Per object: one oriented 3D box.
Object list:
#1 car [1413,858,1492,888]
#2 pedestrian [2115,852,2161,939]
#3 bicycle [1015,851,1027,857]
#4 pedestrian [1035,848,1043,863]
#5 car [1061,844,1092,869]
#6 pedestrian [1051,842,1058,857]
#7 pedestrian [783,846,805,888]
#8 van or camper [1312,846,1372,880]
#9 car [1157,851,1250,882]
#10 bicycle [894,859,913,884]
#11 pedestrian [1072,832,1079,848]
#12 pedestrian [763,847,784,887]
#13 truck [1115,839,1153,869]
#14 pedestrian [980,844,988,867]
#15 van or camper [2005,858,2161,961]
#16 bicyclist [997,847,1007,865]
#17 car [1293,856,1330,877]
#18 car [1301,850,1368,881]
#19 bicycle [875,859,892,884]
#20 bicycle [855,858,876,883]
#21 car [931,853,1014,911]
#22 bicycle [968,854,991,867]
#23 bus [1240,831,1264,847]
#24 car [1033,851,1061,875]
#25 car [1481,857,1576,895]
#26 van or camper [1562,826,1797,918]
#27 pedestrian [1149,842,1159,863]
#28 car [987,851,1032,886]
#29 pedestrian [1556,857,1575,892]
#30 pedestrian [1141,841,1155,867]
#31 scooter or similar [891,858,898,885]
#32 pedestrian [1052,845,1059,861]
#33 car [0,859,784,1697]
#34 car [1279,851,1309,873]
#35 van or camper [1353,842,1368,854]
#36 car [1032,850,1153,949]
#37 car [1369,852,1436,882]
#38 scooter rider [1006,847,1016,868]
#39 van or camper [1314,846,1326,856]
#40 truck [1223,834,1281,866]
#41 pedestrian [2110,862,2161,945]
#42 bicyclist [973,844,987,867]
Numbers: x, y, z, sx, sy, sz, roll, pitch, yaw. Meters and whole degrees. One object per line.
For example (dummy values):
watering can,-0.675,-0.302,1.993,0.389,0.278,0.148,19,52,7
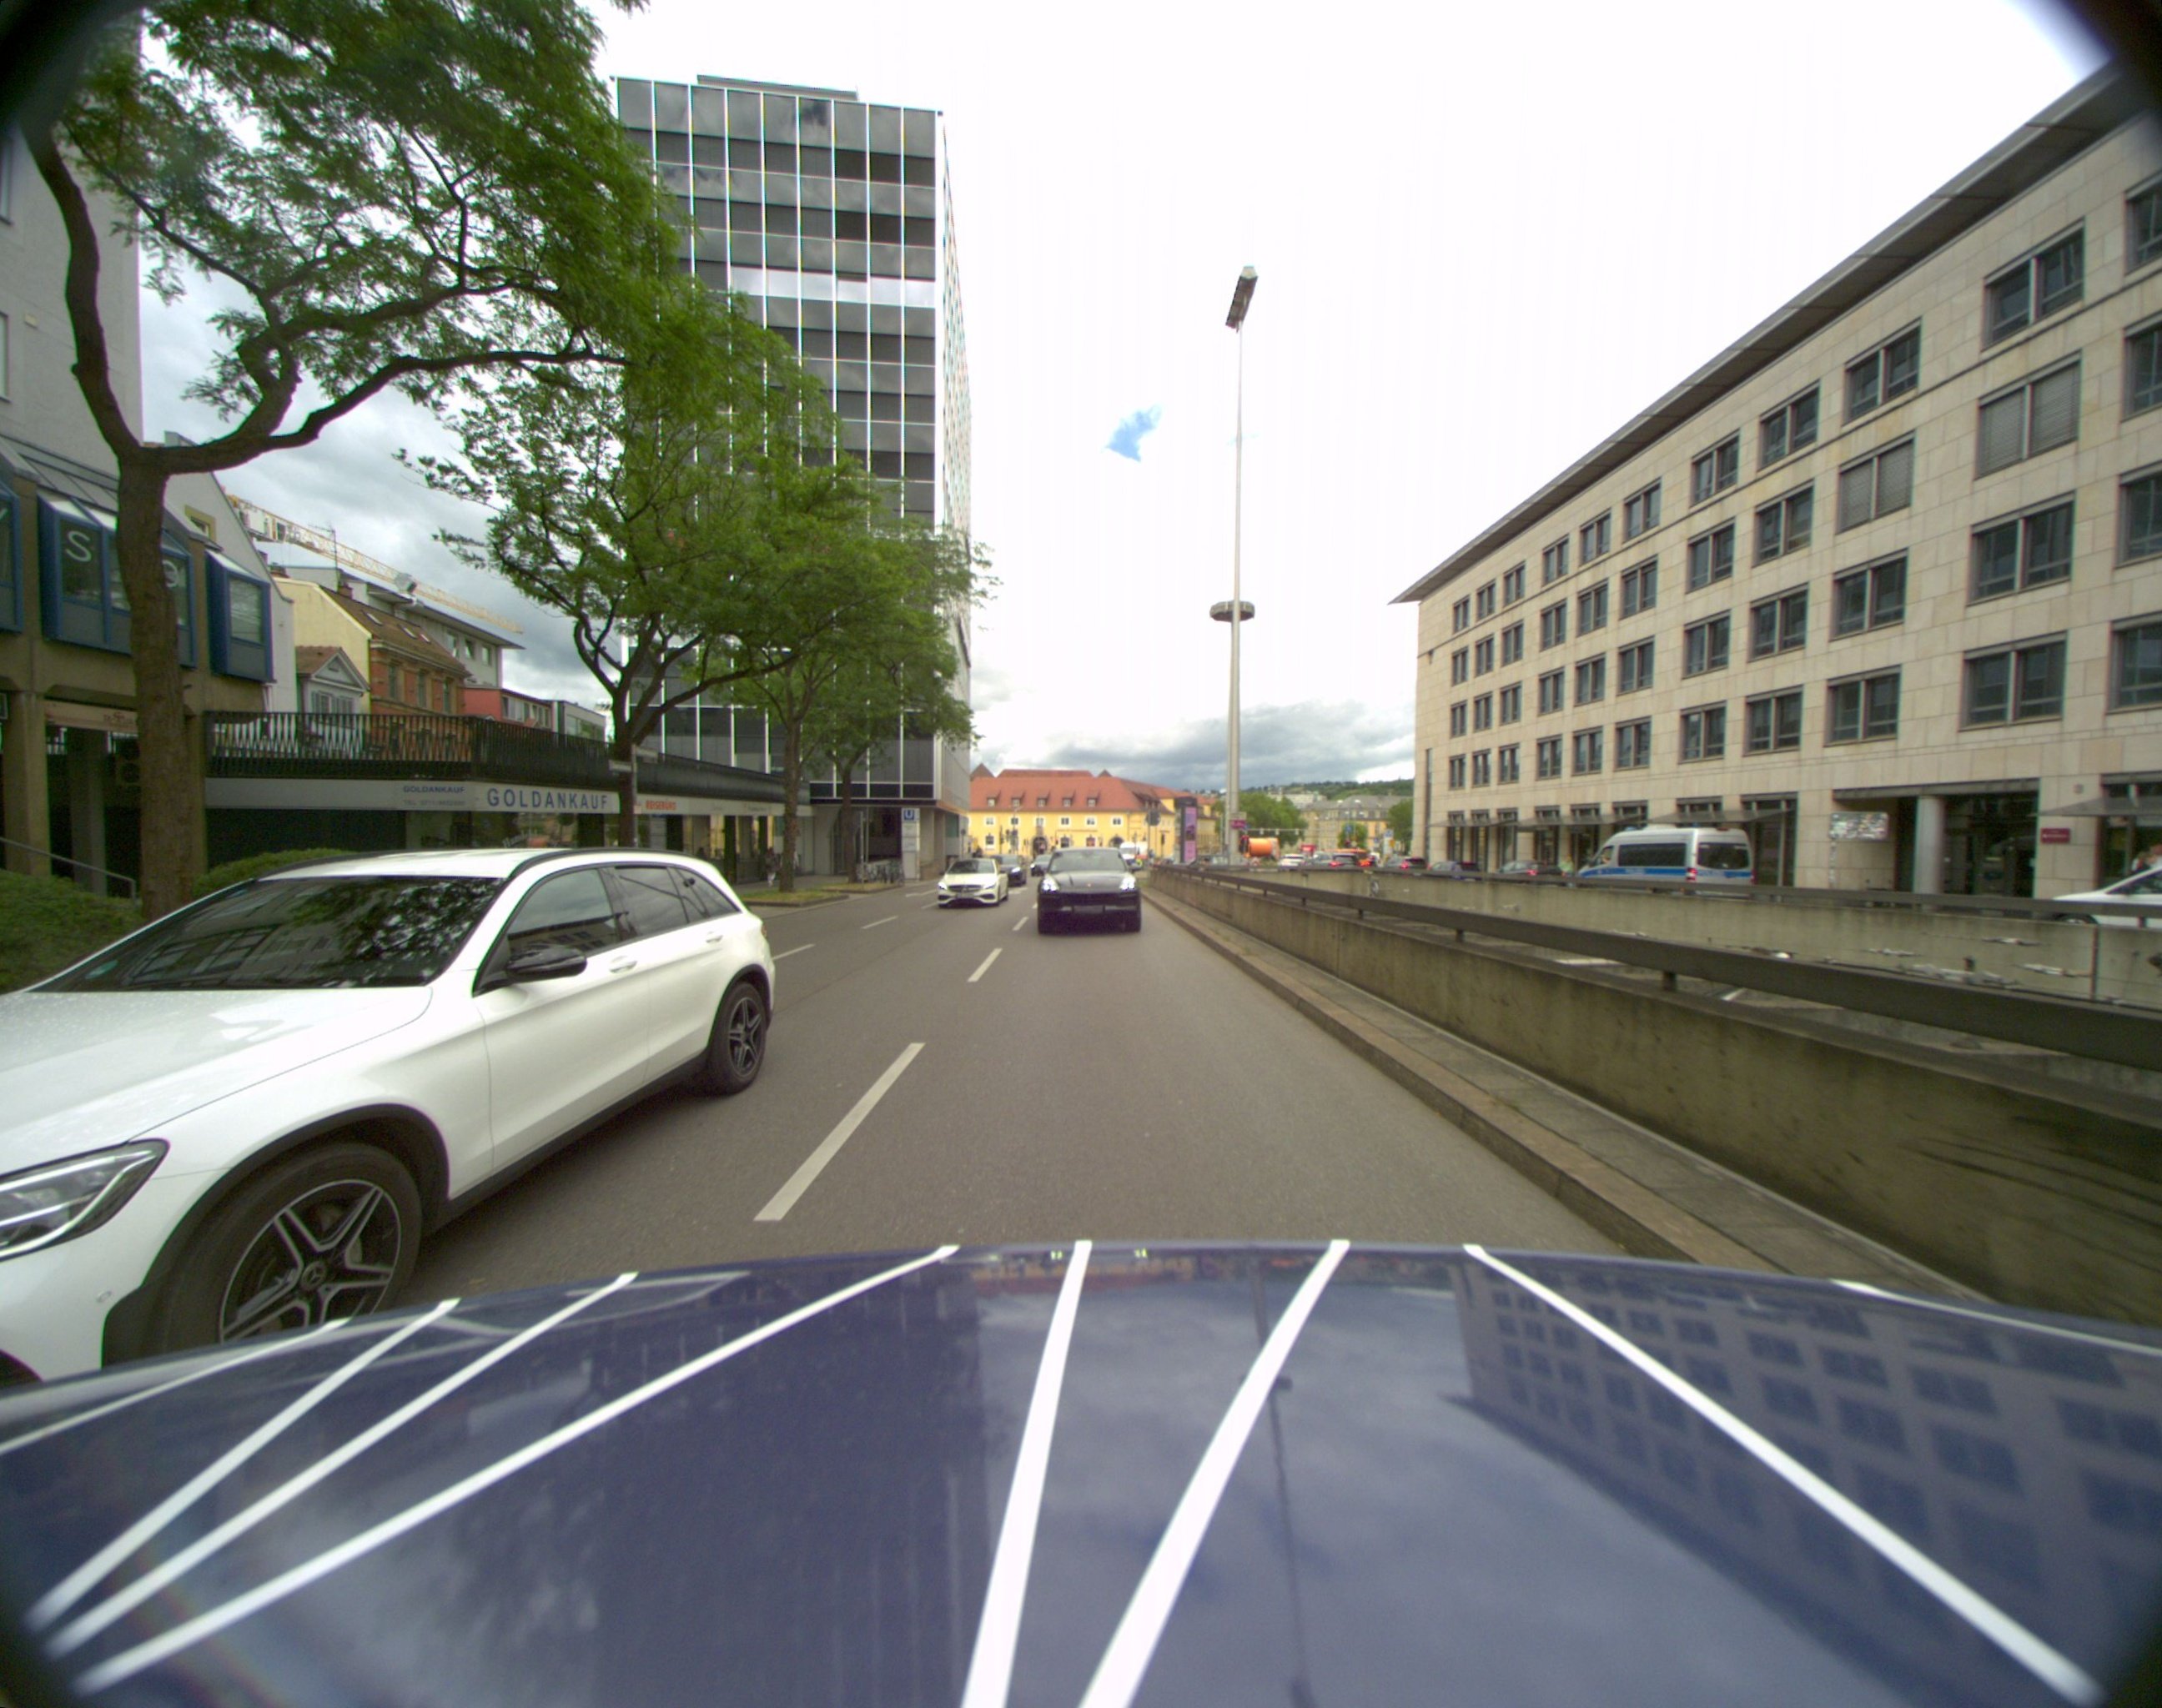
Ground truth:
car,19.518,0.960,40.168,1.998,1.387,4.573,1,1,1
pedestrian,23.257,0.885,16.506,0.618,1.864,0.680,1,1,-1
bicycle,-9.762,-0.003,124.104,1.769,1.079,0.621,1,1,10
pedestrian,-4.729,0.128,85.189,0.802,1.688,0.547,1,1,-18
car,-0.356,0.161,64.358,1.858,1.976,4.644,1,1,9
pedestrian,-3.150,-0.519,88.926,0.611,1.686,0.641,0,1,-23
pedestrian,-11.994,0.541,31.789,0.597,1.744,0.940,1,1,-5
van or camper,16.054,0.515,47.026,1.918,1.910,5.083,2,1,0
car,6.243,0.620,38.800,4.558,1.450,1.882,1,1,8
bicycle,-8.358,0.804,35.841,0.491,1.126,1.843,0,1,0
pedestrian,-0.646,-1.656,90.803,0.611,1.944,0.642,0,1,-20
pedestrian,-12.816,0.543,31.679,0.597,1.619,0.757,1,1,-5
truck,5.145,-0.013,72.946,1.952,2.768,5.798,2,1,21
pedestrian,-7.432,0.085,58.365,0.526,1.702,0.752,2,3,-5
van or camper,19.498,0.968,12.987,1.872,1.741,4.486,0,1,-1
bicyclist,-6.649,0.161,64.108,0.566,1.541,0.844,1,2,-28
car,16.199,0.849,53.600,1.560,1.371,3.633,2,1,1
car,13.189,0.574,39.840,1.923,1.518,4.541,0,1,-1
bicycle,-9.334,0.798,35.930,0.491,1.126,1.886,0,1,-6
bicycle,-10.225,0.782,36.109,0.490,1.126,1.688,1,1,1
car,-3.244,0.774,23.596,1.870,1.560,4.651,-1,1,0
bicycle,-8.350,0.542,62.549,1.763,1.001,0.682,2,-1,26
bus,36.786,-3.126,162.789,3.428,3.185,13.081,-1,0,20
car,-2.268,0.591,51.950,1.707,1.524,3.763,1,0,0
car,19.697,0.945,33.644,1.773,1.440,4.030,2,1,0
van or camper,19.829,0.501,25.780,3.009,2.710,6.245,1,1,0
pedestrian,6.315,-0.147,65.775,0.717,1.780,0.634,4,0,0
car,-3.311,0.654,35.690,1.707,1.524,3.763,1,0,0
pedestrian,22.650,0.937,35.528,0.501,1.615,0.627,0,1,0
pedestrian,5.485,-0.003,61.820,0.879,2.160,0.761,1,1,-18
scooter or similar,-8.874,0.837,36.235,0.307,1.244,0.995,0,1,-13
pedestrian,-2.868,-0.146,85.888,0.670,1.852,0.701,0,1,-21
car,-3.136,0.914,3.411,1.806,1.637,4.333,-1,1,1
car,16.842,0.611,60.207,1.737,1.589,4.321,1,1,9
van or camper,63.991,-1.401,173.947,2.143,2.463,6.166,7,2,11
car,0.242,0.765,15.106,2.004,1.628,5.021,-1,0,1
car,19.463,0.725,46.257,1.998,1.636,4.682,2,1,0
scooter rider,-6.006,0.297,65.217,0.594,1.798,0.641,0,2,-41
van or camper,46.139,-0.520,146.784,1.861,1.905,4.721,1,1,22
truck,21.966,-0.621,97.211,9.194,3.597,2.720,-4,5,-44
pedestrian,22.605,1.036,16.128,0.556,1.708,0.680,0,1,0
bicyclist,-8.304,0.115,62.506,0.812,1.835,0.676,3,2,24
